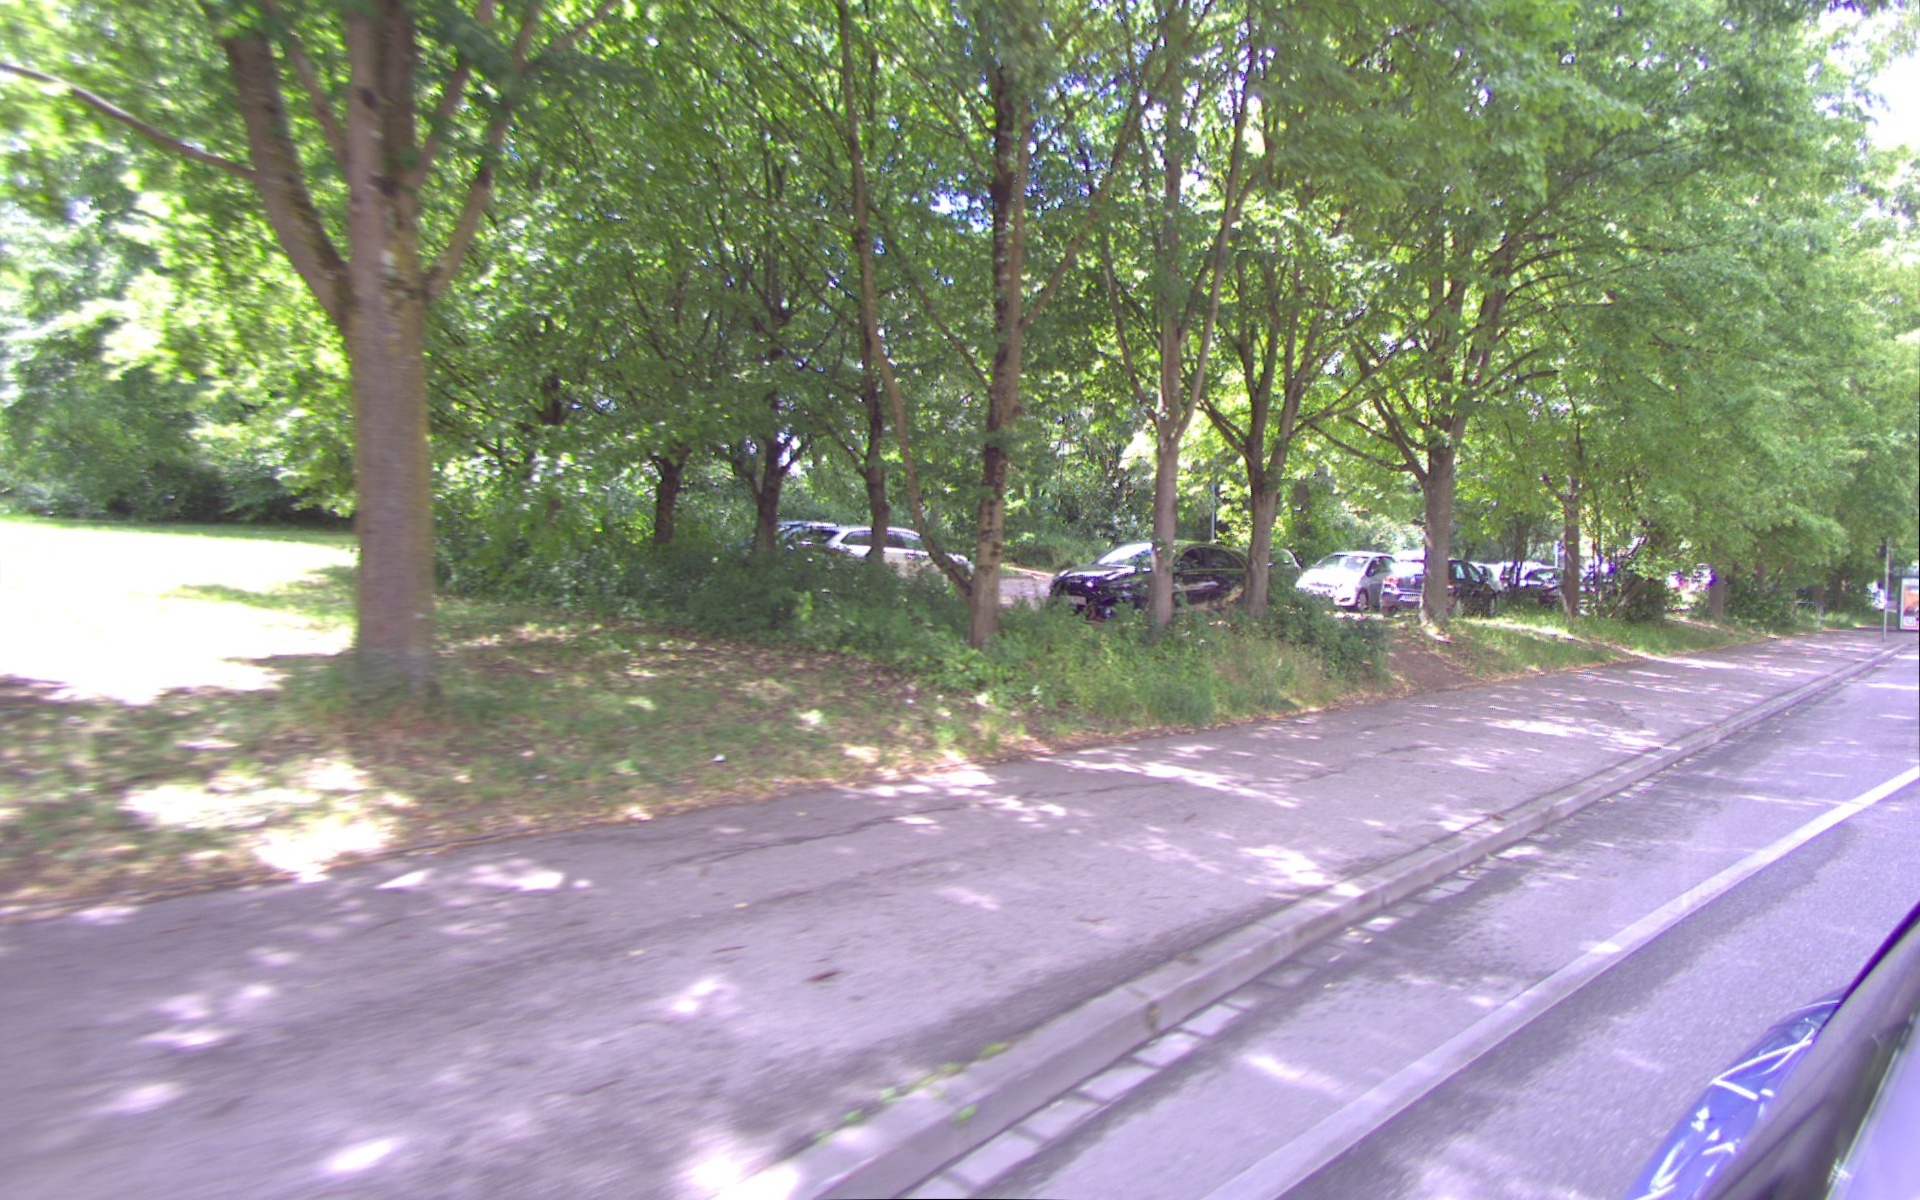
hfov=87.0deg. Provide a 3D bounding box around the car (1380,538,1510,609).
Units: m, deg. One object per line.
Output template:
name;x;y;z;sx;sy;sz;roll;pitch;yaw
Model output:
car;11.834;-0.630;24.560;1.751;1.561;4.162;1;2;42

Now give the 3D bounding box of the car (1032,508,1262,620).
car;3.025;-0.547;16.022;3.613;1.561;1.754;-1;1;-42

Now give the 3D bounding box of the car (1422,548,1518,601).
car;15.991;-0.805;31.667;1.653;1.561;3.568;1;2;45

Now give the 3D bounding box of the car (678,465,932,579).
car;-2.341;-1.109;15.692;3.561;1.561;1.656;-1;1;-39

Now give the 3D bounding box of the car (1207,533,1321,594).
car;8.439;-0.979;27.954;1.651;1.561;3.620;1;1;42

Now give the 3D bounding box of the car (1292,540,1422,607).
car;10.380;-0.701;26.373;3.613;1.560;1.655;-1;4;-42

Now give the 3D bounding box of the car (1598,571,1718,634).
car;18.605;0.030;26.925;3.610;1.561;1.656;-1;1;-38
